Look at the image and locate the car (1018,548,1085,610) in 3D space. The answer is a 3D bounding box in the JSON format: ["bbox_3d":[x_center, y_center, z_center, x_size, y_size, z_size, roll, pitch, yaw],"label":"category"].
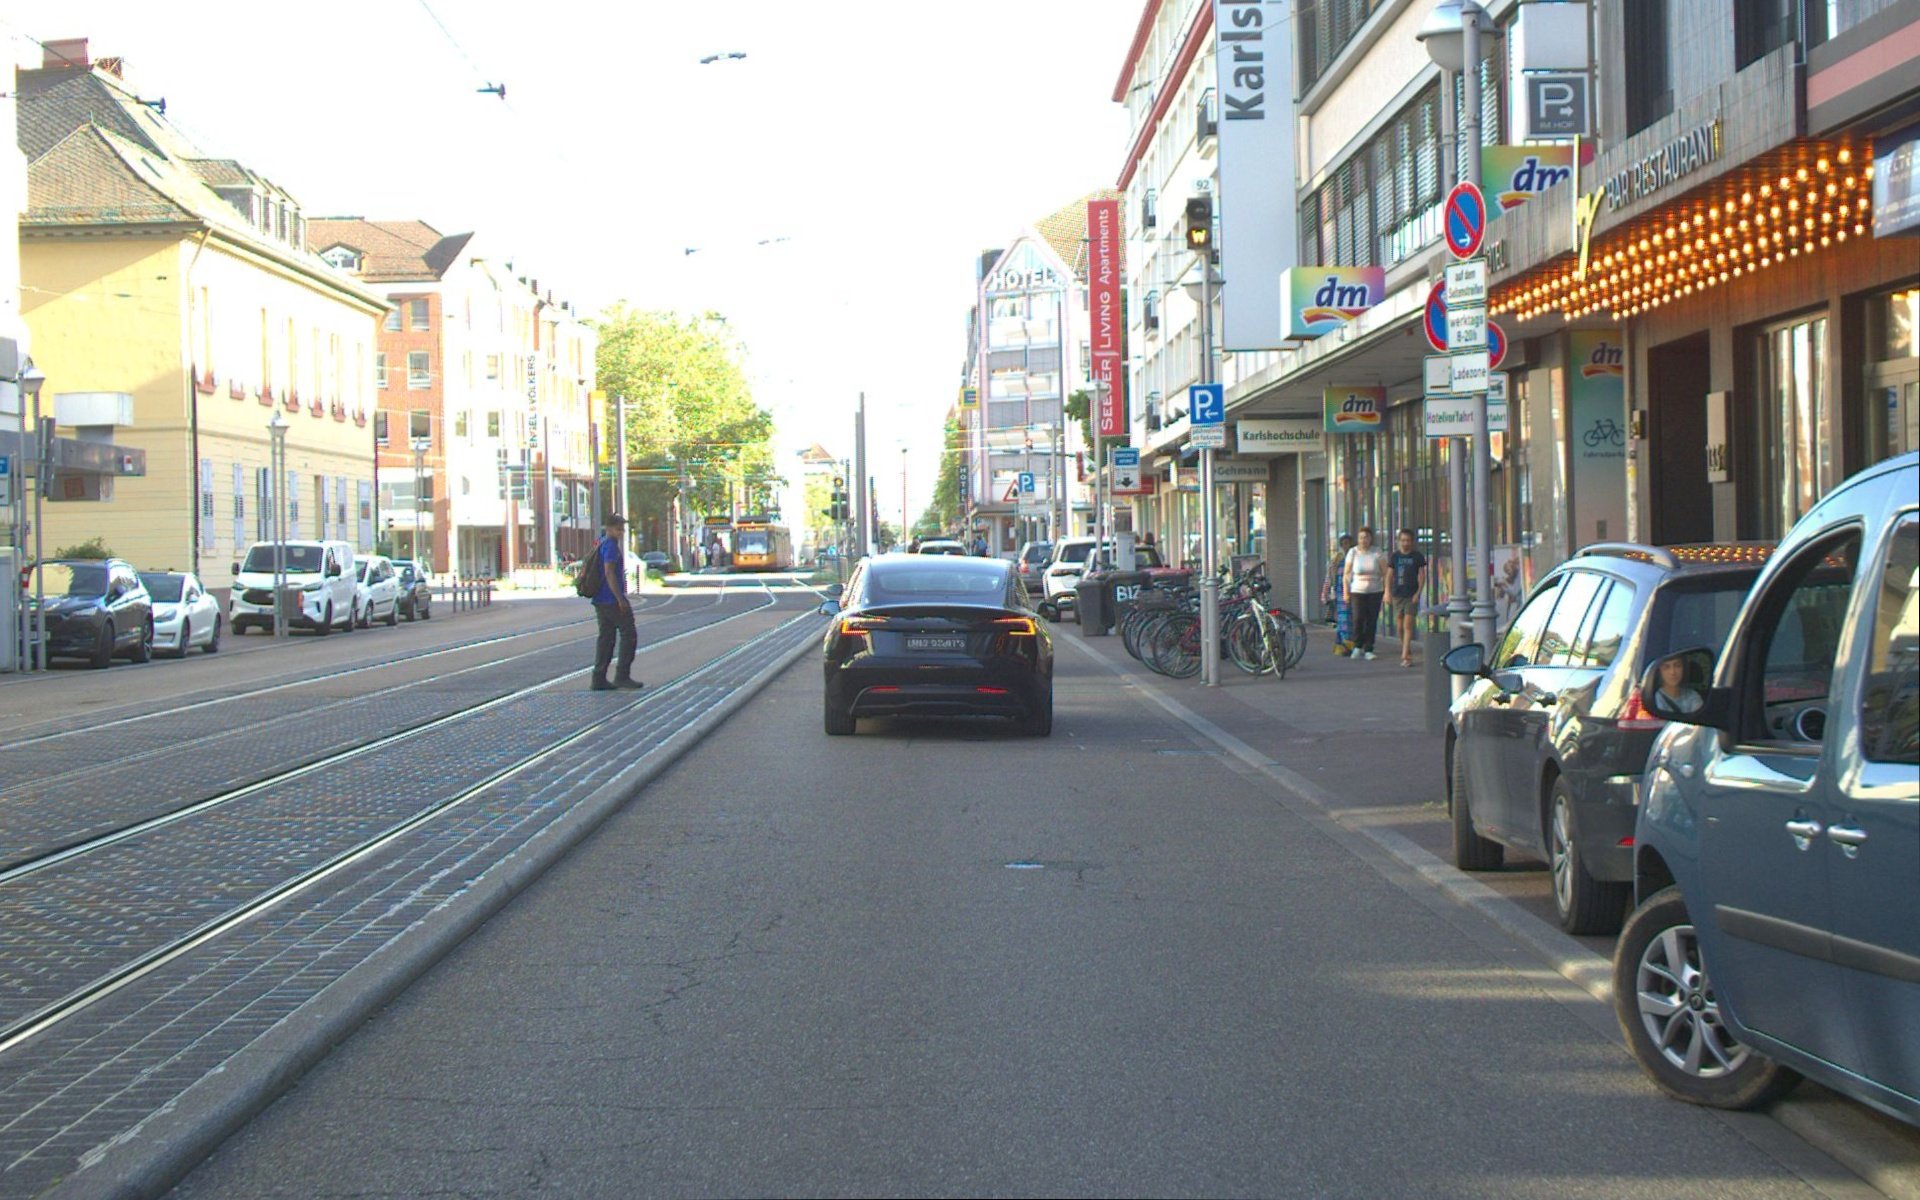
[{"bbox_3d":[2.556,-0.614,96.949,1.745,1.626,3.649,-2,1,0],"label":"car"}]

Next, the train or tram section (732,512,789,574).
[{"bbox_3d":[-12.549,-3.554,217.112,2.674,3.703,14.193,1,1,0],"label":"train or tram section"}]

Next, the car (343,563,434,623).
[{"bbox_3d":[-13.784,-0.177,83.125,1.614,1.396,3.720,1,1,-1],"label":"car"}]

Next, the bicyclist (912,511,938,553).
[{"bbox_3d":[-1.281,-2.481,125.684,0.836,1.494,0.560,1,0,-8],"label":"bicyclist"}]

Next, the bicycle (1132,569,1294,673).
[{"bbox_3d":[2.908,0.233,39.534,1.773,1.127,0.479,-2,1,-6],"label":"bicycle"}]

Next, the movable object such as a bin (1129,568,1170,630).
[{"bbox_3d":[3.184,-0.023,57.767,0.658,1.010,0.636,-2,1,2],"label":"movable object such as a bin"}]

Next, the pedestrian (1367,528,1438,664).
[{"bbox_3d":[4.944,-0.047,38.412,0.581,1.488,0.525,-3,1,-9],"label":"pedestrian"}]

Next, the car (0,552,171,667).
[{"bbox_3d":[-13.755,0.109,53.286,1.978,1.673,4.655,1,1,0],"label":"car"}]

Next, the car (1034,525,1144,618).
[{"bbox_3d":[2.554,-0.576,69.140,1.849,1.718,5.193,-3,1,-1],"label":"car"}]

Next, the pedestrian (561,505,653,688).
[{"bbox_3d":[-3.634,-0.036,35.438,0.804,1.831,0.746,-3,1,-2],"label":"pedestrian"}]

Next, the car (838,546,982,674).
[{"bbox_3d":[-0.566,0.086,41.803,1.653,1.413,4.000,1,1,0],"label":"car"}]

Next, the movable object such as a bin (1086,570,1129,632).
[{"bbox_3d":[2.486,0.013,57.839,0.686,1.010,0.508,-2,1,2],"label":"movable object such as a bin"}]

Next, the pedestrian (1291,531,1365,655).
[{"bbox_3d":[4.508,-0.082,42.095,0.581,1.481,0.597,-3,1,-31],"label":"pedestrian"}]

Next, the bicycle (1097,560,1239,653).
[{"bbox_3d":[2.735,0.077,45.281,1.787,1.155,0.669,-2,1,-1],"label":"bicycle"}]

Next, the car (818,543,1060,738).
[{"bbox_3d":[-0.206,0.292,28.281,1.849,1.479,3.787,0,1,-1],"label":"car"}]

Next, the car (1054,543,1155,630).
[{"bbox_3d":[2.671,-0.271,64.336,1.614,1.523,4.070,-2,1,-1],"label":"car"}]

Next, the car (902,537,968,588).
[{"bbox_3d":[-0.778,-1.141,104.712,1.783,1.514,4.218,1,1,-3],"label":"car"}]

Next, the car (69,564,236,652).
[{"bbox_3d":[-13.822,0.112,59.102,1.888,1.416,4.657,1,1,-2],"label":"car"}]

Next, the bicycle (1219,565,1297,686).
[{"bbox_3d":[3.240,0.263,37.456,0.581,1.253,1.602,-3,1,-2],"label":"bicycle"}]

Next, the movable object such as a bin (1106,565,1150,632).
[{"bbox_3d":[2.784,-0.031,57.065,0.690,1.085,0.685,-2,0,3],"label":"movable object such as a bin"}]

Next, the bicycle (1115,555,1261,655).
[{"bbox_3d":[2.922,0.058,44.135,1.787,1.213,0.669,-2,1,-1],"label":"bicycle"}]

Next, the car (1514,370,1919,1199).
[{"bbox_3d":[2.745,0.433,8.065,1.815,1.853,4.551,-2,1,-4],"label":"car"}]

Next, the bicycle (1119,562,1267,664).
[{"bbox_3d":[2.924,0.153,43.217,1.787,1.213,0.587,-2,1,-1],"label":"bicycle"}]

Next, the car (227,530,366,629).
[{"bbox_3d":[-13.889,-0.448,72.222,1.993,1.968,5.097,1,1,-1],"label":"car"}]

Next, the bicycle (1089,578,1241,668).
[{"bbox_3d":[2.482,0.278,41.815,1.773,1.028,0.597,-2,1,-1],"label":"bicycle"}]

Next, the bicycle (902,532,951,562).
[{"bbox_3d":[-1.224,-1.931,125.711,1.727,1.084,0.678,1,0,-8],"label":"bicycle"}]

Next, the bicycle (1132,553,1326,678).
[{"bbox_3d":[3.034,0.168,38.741,2.035,1.270,0.525,-4,1,-10],"label":"bicycle"}]

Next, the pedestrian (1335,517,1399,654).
[{"bbox_3d":[4.820,-0.170,40.720,0.581,1.580,0.598,-3,1,-2],"label":"pedestrian"}]

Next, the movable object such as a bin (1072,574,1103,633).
[{"bbox_3d":[2.120,0.051,57.156,0.487,0.955,0.457,-2,0,3],"label":"movable object such as a bin"}]

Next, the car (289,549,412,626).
[{"bbox_3d":[-13.888,-0.294,78.522,1.808,1.680,4.648,1,1,2],"label":"car"}]

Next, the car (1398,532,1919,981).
[{"bbox_3d":[2.993,0.508,14.078,1.721,1.479,4.416,-3,1,-1],"label":"car"}]

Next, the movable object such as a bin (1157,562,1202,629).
[{"bbox_3d":[3.640,-0.074,57.013,0.690,1.085,0.666,-2,0,3],"label":"movable object such as a bin"}]
